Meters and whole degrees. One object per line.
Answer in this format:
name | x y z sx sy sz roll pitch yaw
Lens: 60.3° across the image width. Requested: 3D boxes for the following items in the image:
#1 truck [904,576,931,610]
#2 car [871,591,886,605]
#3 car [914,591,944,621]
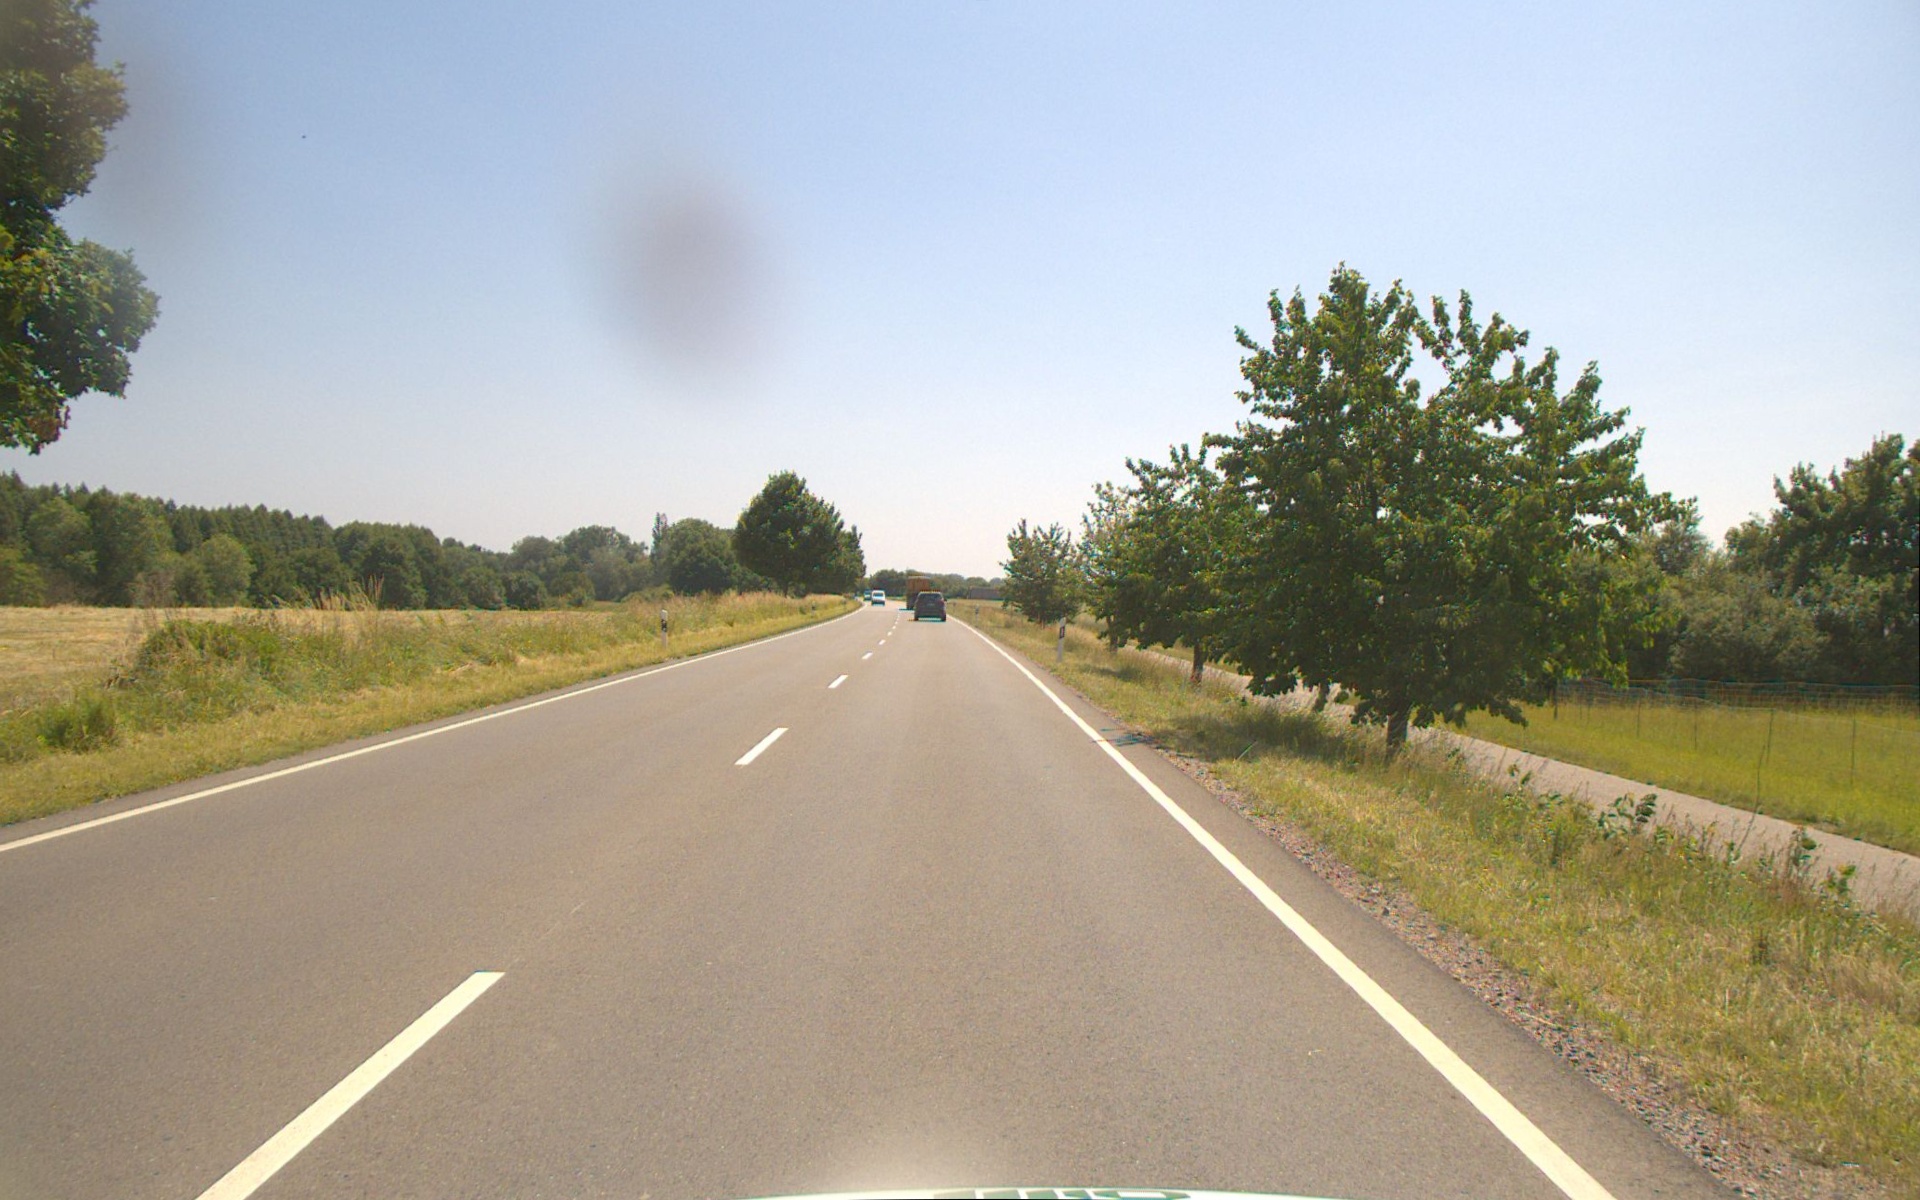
truck | -4.162 -0.630 160.192 2.323 3.195 8.741 1 0 -3
car | -10.232 -0.230 207.286 1.751 1.759 4.303 1 0 -1
car | -1.815 0.343 97.017 1.679 1.723 3.988 1 0 0
